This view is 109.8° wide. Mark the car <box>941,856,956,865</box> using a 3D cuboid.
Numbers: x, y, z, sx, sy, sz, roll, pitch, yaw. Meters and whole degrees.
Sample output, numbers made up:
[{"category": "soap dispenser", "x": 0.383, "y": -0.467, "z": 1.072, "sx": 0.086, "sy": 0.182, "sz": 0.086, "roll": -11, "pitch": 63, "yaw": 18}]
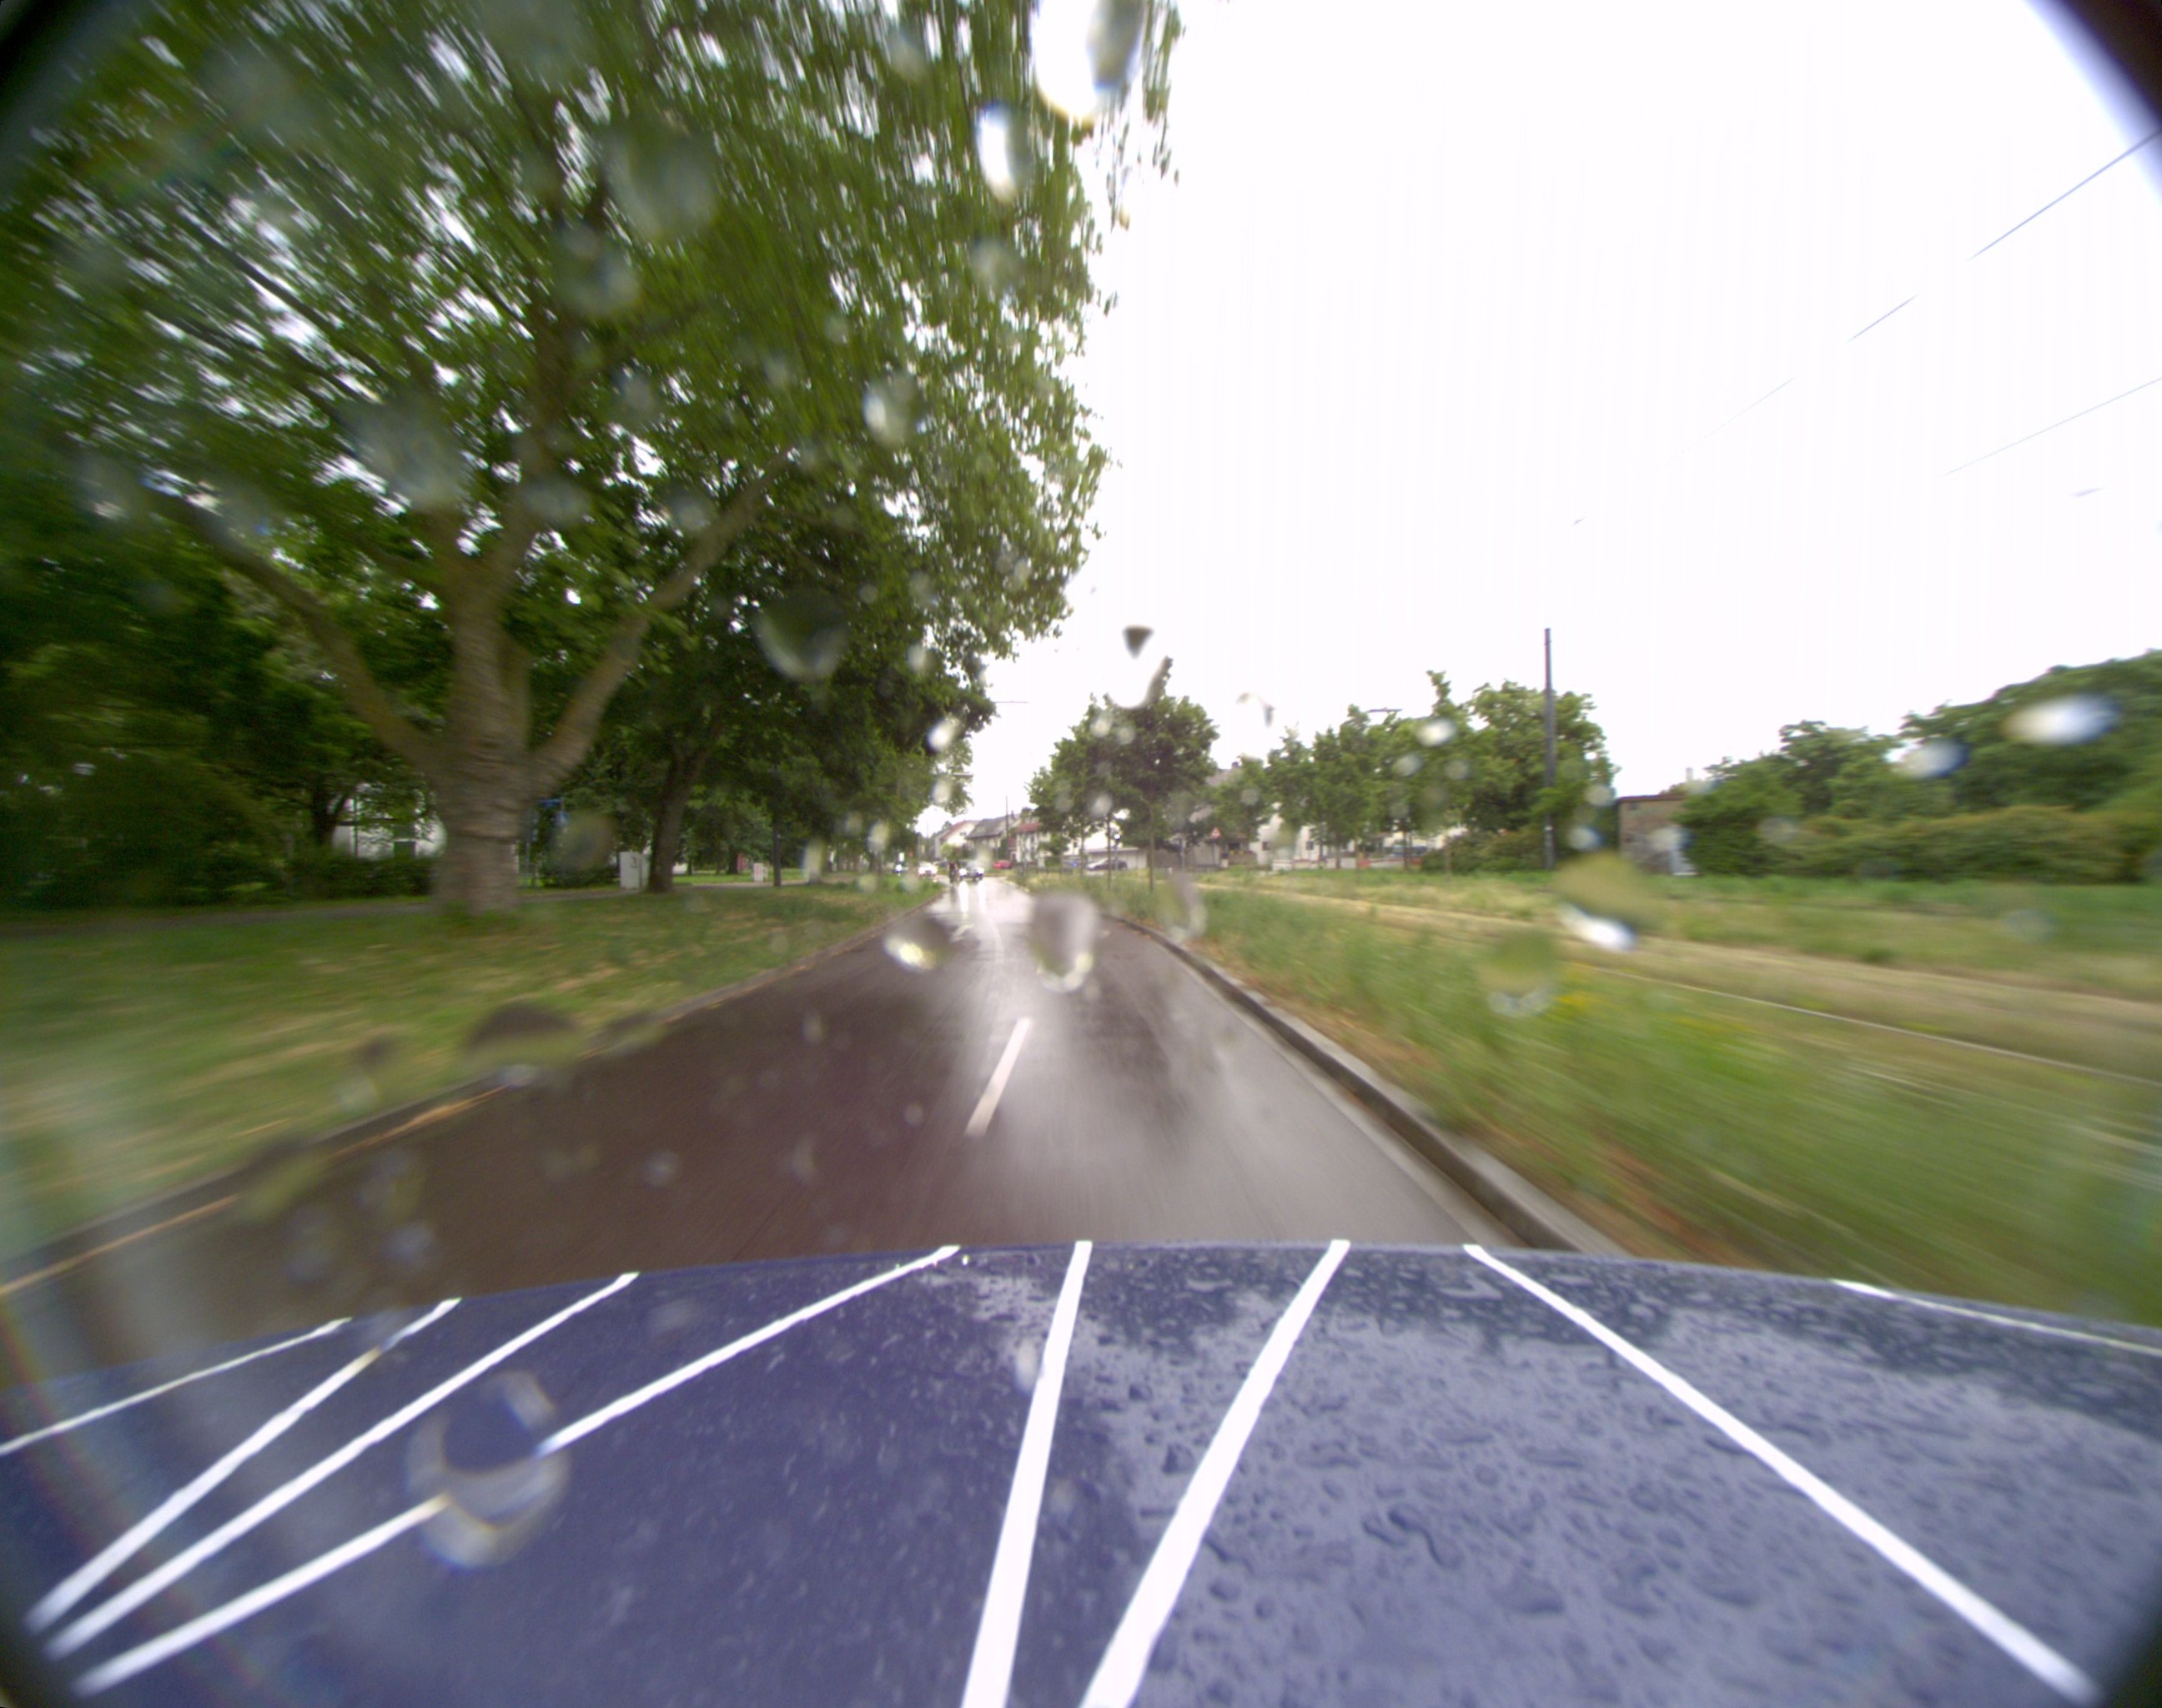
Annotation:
[{"category": "car", "x": -25.393, "y": 1.302, "z": 145.546, "sx": 1.852, "sy": 1.696, "sz": 4.174, "roll": -2, "pitch": 1, "yaw": -24}]

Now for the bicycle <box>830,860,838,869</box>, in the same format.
[{"category": "bicycle", "x": -31.934, "y": 1.374, "z": 98.244, "sx": 0.714, "sy": 1.136, "sz": 1.969, "roll": -1, "pitch": 1, "yaw": -12}]

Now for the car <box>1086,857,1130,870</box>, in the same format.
[{"category": "car", "x": 3.177, "y": 1.067, "z": 88.230, "sx": 4.745, "sy": 1.357, "sz": 1.845, "roll": -2, "pitch": 0, "yaw": -20}]

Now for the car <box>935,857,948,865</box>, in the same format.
[{"category": "car", "x": -28.025, "y": 1.426, "z": 152.099, "sx": 1.720, "sy": 1.520, "sz": 3.594, "roll": -4, "pitch": 1, "yaw": -23}]

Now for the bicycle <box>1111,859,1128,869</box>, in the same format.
[{"category": "bicycle", "x": 4.171, "y": 1.137, "z": 82.662, "sx": 1.836, "sy": 1.013, "sz": 0.483, "roll": -2, "pitch": 3, "yaw": 43}]

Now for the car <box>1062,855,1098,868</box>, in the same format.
[{"category": "car", "x": -0.142, "y": 0.978, "z": 95.751, "sx": 4.004, "sy": 1.567, "sz": 1.889, "roll": -1, "pitch": 0, "yaw": -23}]

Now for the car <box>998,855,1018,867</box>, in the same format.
[{"category": "car", "x": -10.756, "y": 0.988, "z": 111.343, "sx": 1.849, "sy": 1.538, "sz": 3.966, "roll": -4, "pitch": 1, "yaw": -21}]

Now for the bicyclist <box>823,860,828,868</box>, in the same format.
[{"category": "bicyclist", "x": -32.901, "y": 1.259, "z": 97.923, "sx": 0.488, "sy": 1.032, "sz": 0.591, "roll": -1, "pitch": 1, "yaw": -13}]

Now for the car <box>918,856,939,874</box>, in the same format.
[{"category": "car", "x": -15.785, "y": 1.104, "z": 78.498, "sx": 1.770, "sy": 1.715, "sz": 3.928, "roll": -2, "pitch": 1, "yaw": -17}]

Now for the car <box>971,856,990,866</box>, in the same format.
[{"category": "car", "x": -16.320, "y": 1.114, "z": 123.579, "sx": 2.002, "sy": 1.604, "sz": 4.675, "roll": -3, "pitch": 1, "yaw": -21}]

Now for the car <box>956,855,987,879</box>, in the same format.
[{"category": "car", "x": -8.870, "y": 1.046, "z": 61.320, "sx": 1.770, "sy": 1.715, "sz": 3.929, "roll": -3, "pitch": 0, "yaw": -18}]

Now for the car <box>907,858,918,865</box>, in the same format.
[{"category": "car", "x": -39.668, "y": 1.816, "z": 178.668, "sx": 1.762, "sy": 1.507, "sz": 3.847, "roll": -4, "pitch": 1, "yaw": -23}]

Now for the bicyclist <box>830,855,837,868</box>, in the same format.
[{"category": "bicyclist", "x": -31.940, "y": 0.964, "z": 98.232, "sx": 0.714, "sy": 1.711, "sz": 0.956, "roll": -1, "pitch": 2, "yaw": -12}]

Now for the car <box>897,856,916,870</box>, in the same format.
[{"category": "car", "x": -22.556, "y": 1.119, "z": 98.128, "sx": 1.770, "sy": 1.715, "sz": 3.927, "roll": -1, "pitch": 1, "yaw": -22}]

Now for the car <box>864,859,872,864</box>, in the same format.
[{"category": "car", "x": -65.489, "y": 2.323, "z": 233.656, "sx": 1.762, "sy": 1.507, "sz": 3.847, "roll": -4, "pitch": 1, "yaw": -23}]

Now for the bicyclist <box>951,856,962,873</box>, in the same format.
[{"category": "bicyclist", "x": -8.186, "y": 0.692, "z": 49.970, "sx": 0.622, "sy": 1.078, "sz": 0.624, "roll": -1, "pitch": 1, "yaw": -12}]

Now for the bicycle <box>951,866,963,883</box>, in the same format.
[{"category": "bicycle", "x": -8.168, "y": 1.345, "z": 49.931, "sx": 0.660, "sy": 1.008, "sz": 2.254, "roll": -1, "pitch": 1, "yaw": -12}]
